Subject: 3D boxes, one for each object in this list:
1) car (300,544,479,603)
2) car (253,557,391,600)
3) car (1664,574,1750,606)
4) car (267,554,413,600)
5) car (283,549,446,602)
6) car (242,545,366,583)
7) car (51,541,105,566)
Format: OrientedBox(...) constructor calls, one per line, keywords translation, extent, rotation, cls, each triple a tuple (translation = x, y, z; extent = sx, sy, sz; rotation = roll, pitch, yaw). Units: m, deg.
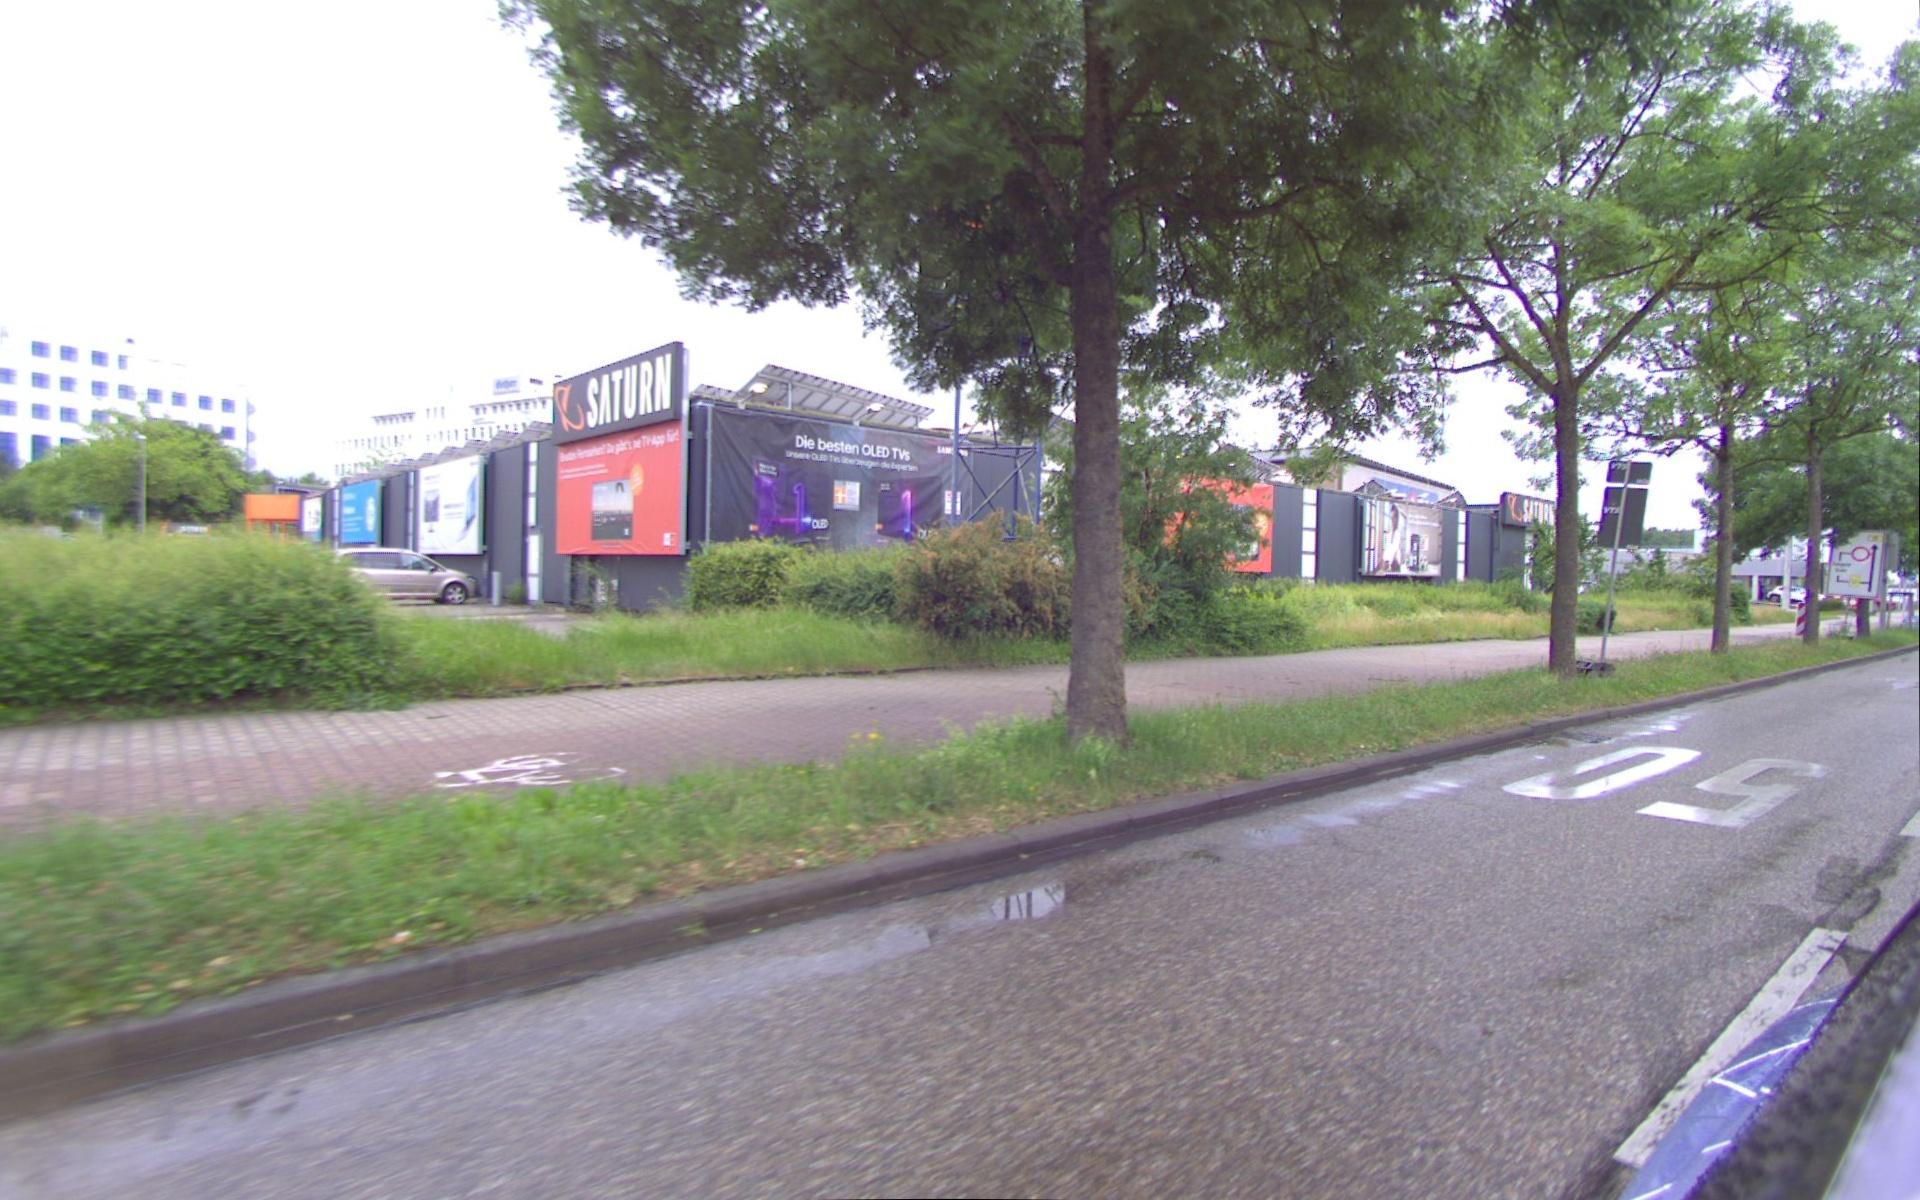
OrientedBox(translation=(-16.748, -0.762, 29.824), extent=(4.292, 1.593, 1.906), rotation=(0, 2, -44), cls="car")
OrientedBox(translation=(-24.804, -0.844, 39.446), extent=(4.292, 1.593, 1.906), rotation=(0, 2, -44), cls="car")
OrientedBox(translation=(54.532, -0.739, 73.981), extent=(4.939, 2.038, 1.973), rotation=(4, 3, 38), cls="car")
OrientedBox(translation=(-22.666, -0.825, 37.102), extent=(4.292, 1.593, 1.906), rotation=(0, 2, -44), cls="car")
OrientedBox(translation=(-19.429, -0.791, 33.106), extent=(4.292, 1.593, 1.906), rotation=(0, 2, -44), cls="car")
OrientedBox(translation=(-28.675, -1.555, 44.319), extent=(4.292, 1.593, 1.906), rotation=(0, 2, -44), cls="car")
OrientedBox(translation=(-58.661, -3.104, 67.306), extent=(4.339, 1.593, 1.885), rotation=(2, 2, 37), cls="car")
